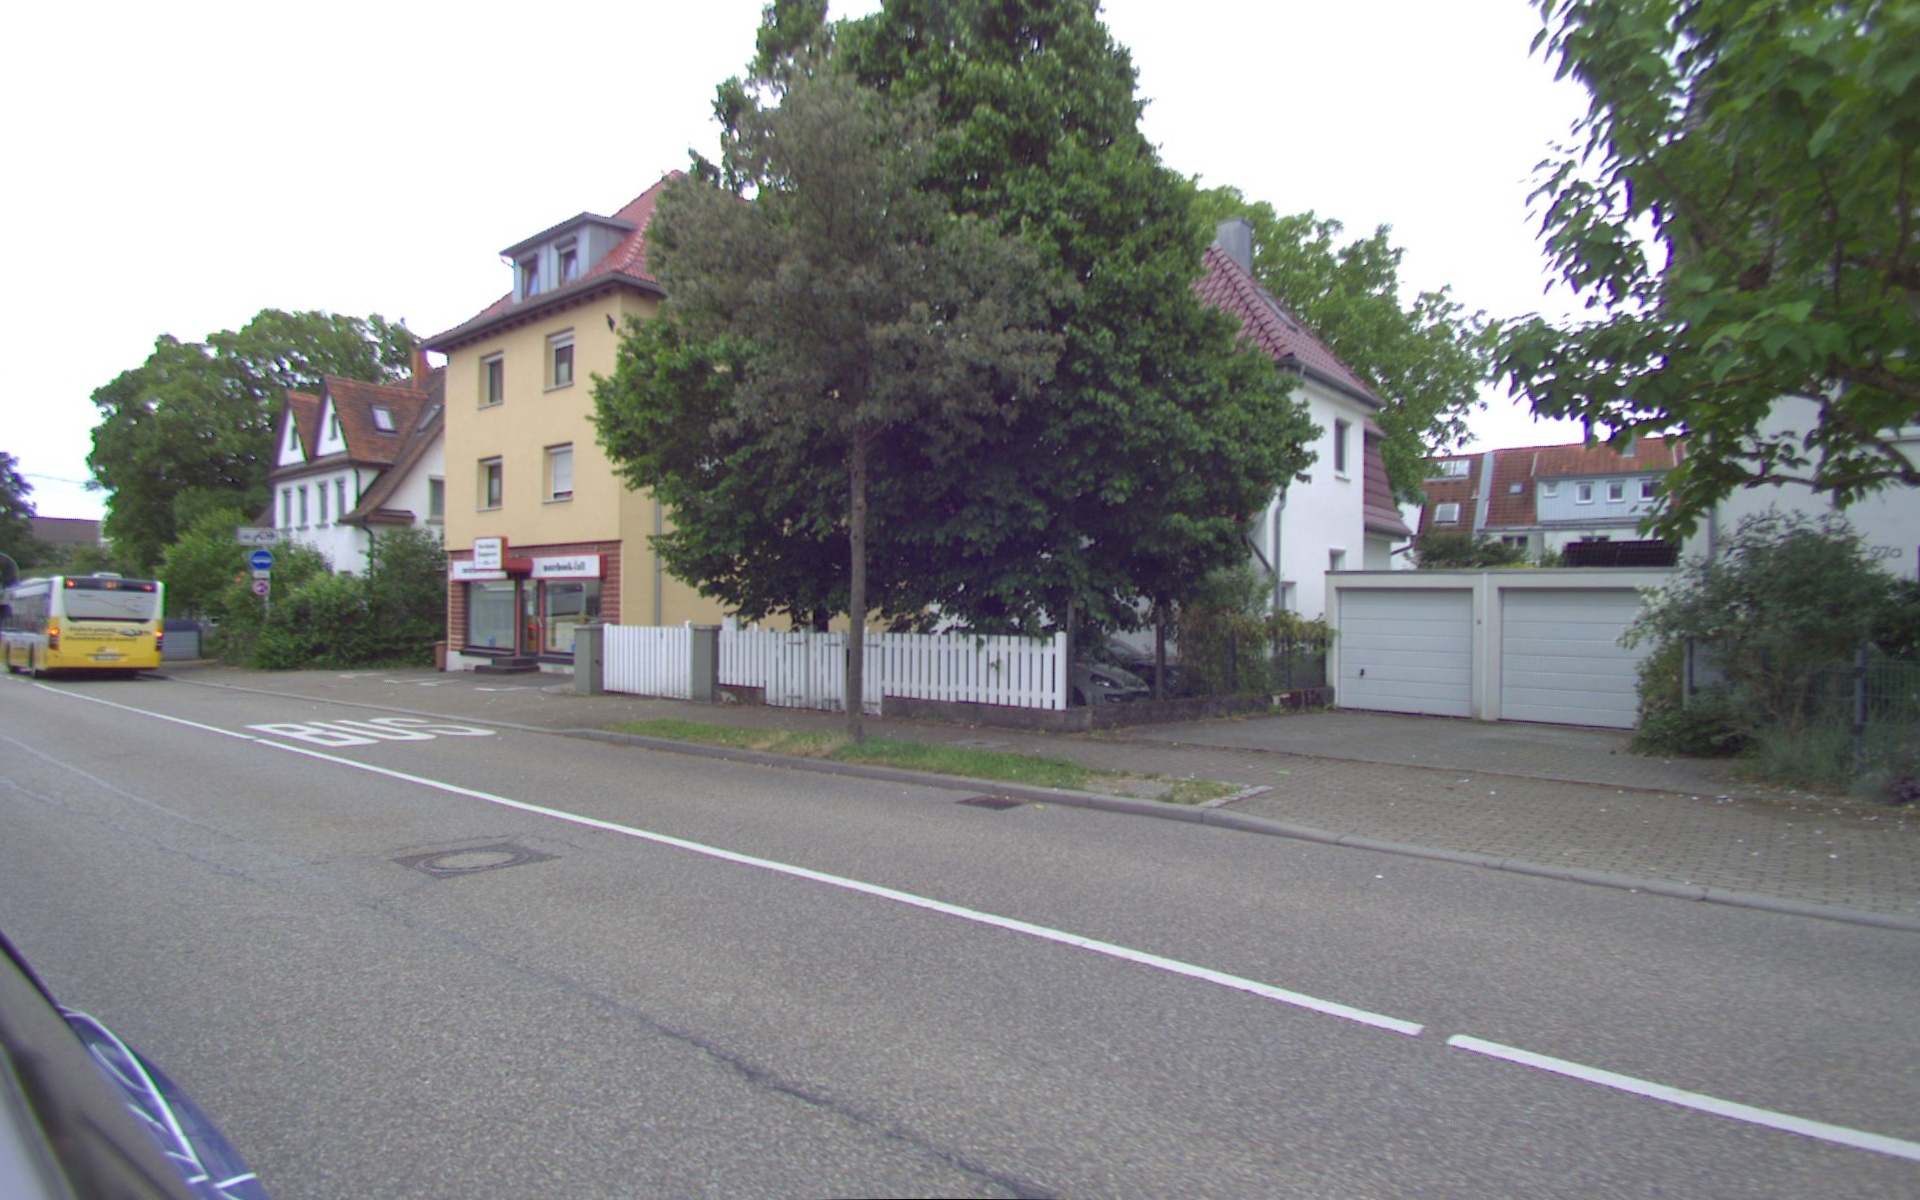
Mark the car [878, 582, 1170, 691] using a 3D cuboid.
[{"bbox_3d":[0.959,0.592,16.707,4.610,1.576,1.789,-1,-3,37],"label":"car"}]

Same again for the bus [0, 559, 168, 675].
[{"bbox_3d":[-28.210,0.561,32.160,12.064,3.109,2.604,-1,-2,41],"label":"bus"}]

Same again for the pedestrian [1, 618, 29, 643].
[{"bbox_3d":[-66.859,2.152,71.624,1.214,1.767,0.822,-1,1,6],"label":"pedestrian"}]
